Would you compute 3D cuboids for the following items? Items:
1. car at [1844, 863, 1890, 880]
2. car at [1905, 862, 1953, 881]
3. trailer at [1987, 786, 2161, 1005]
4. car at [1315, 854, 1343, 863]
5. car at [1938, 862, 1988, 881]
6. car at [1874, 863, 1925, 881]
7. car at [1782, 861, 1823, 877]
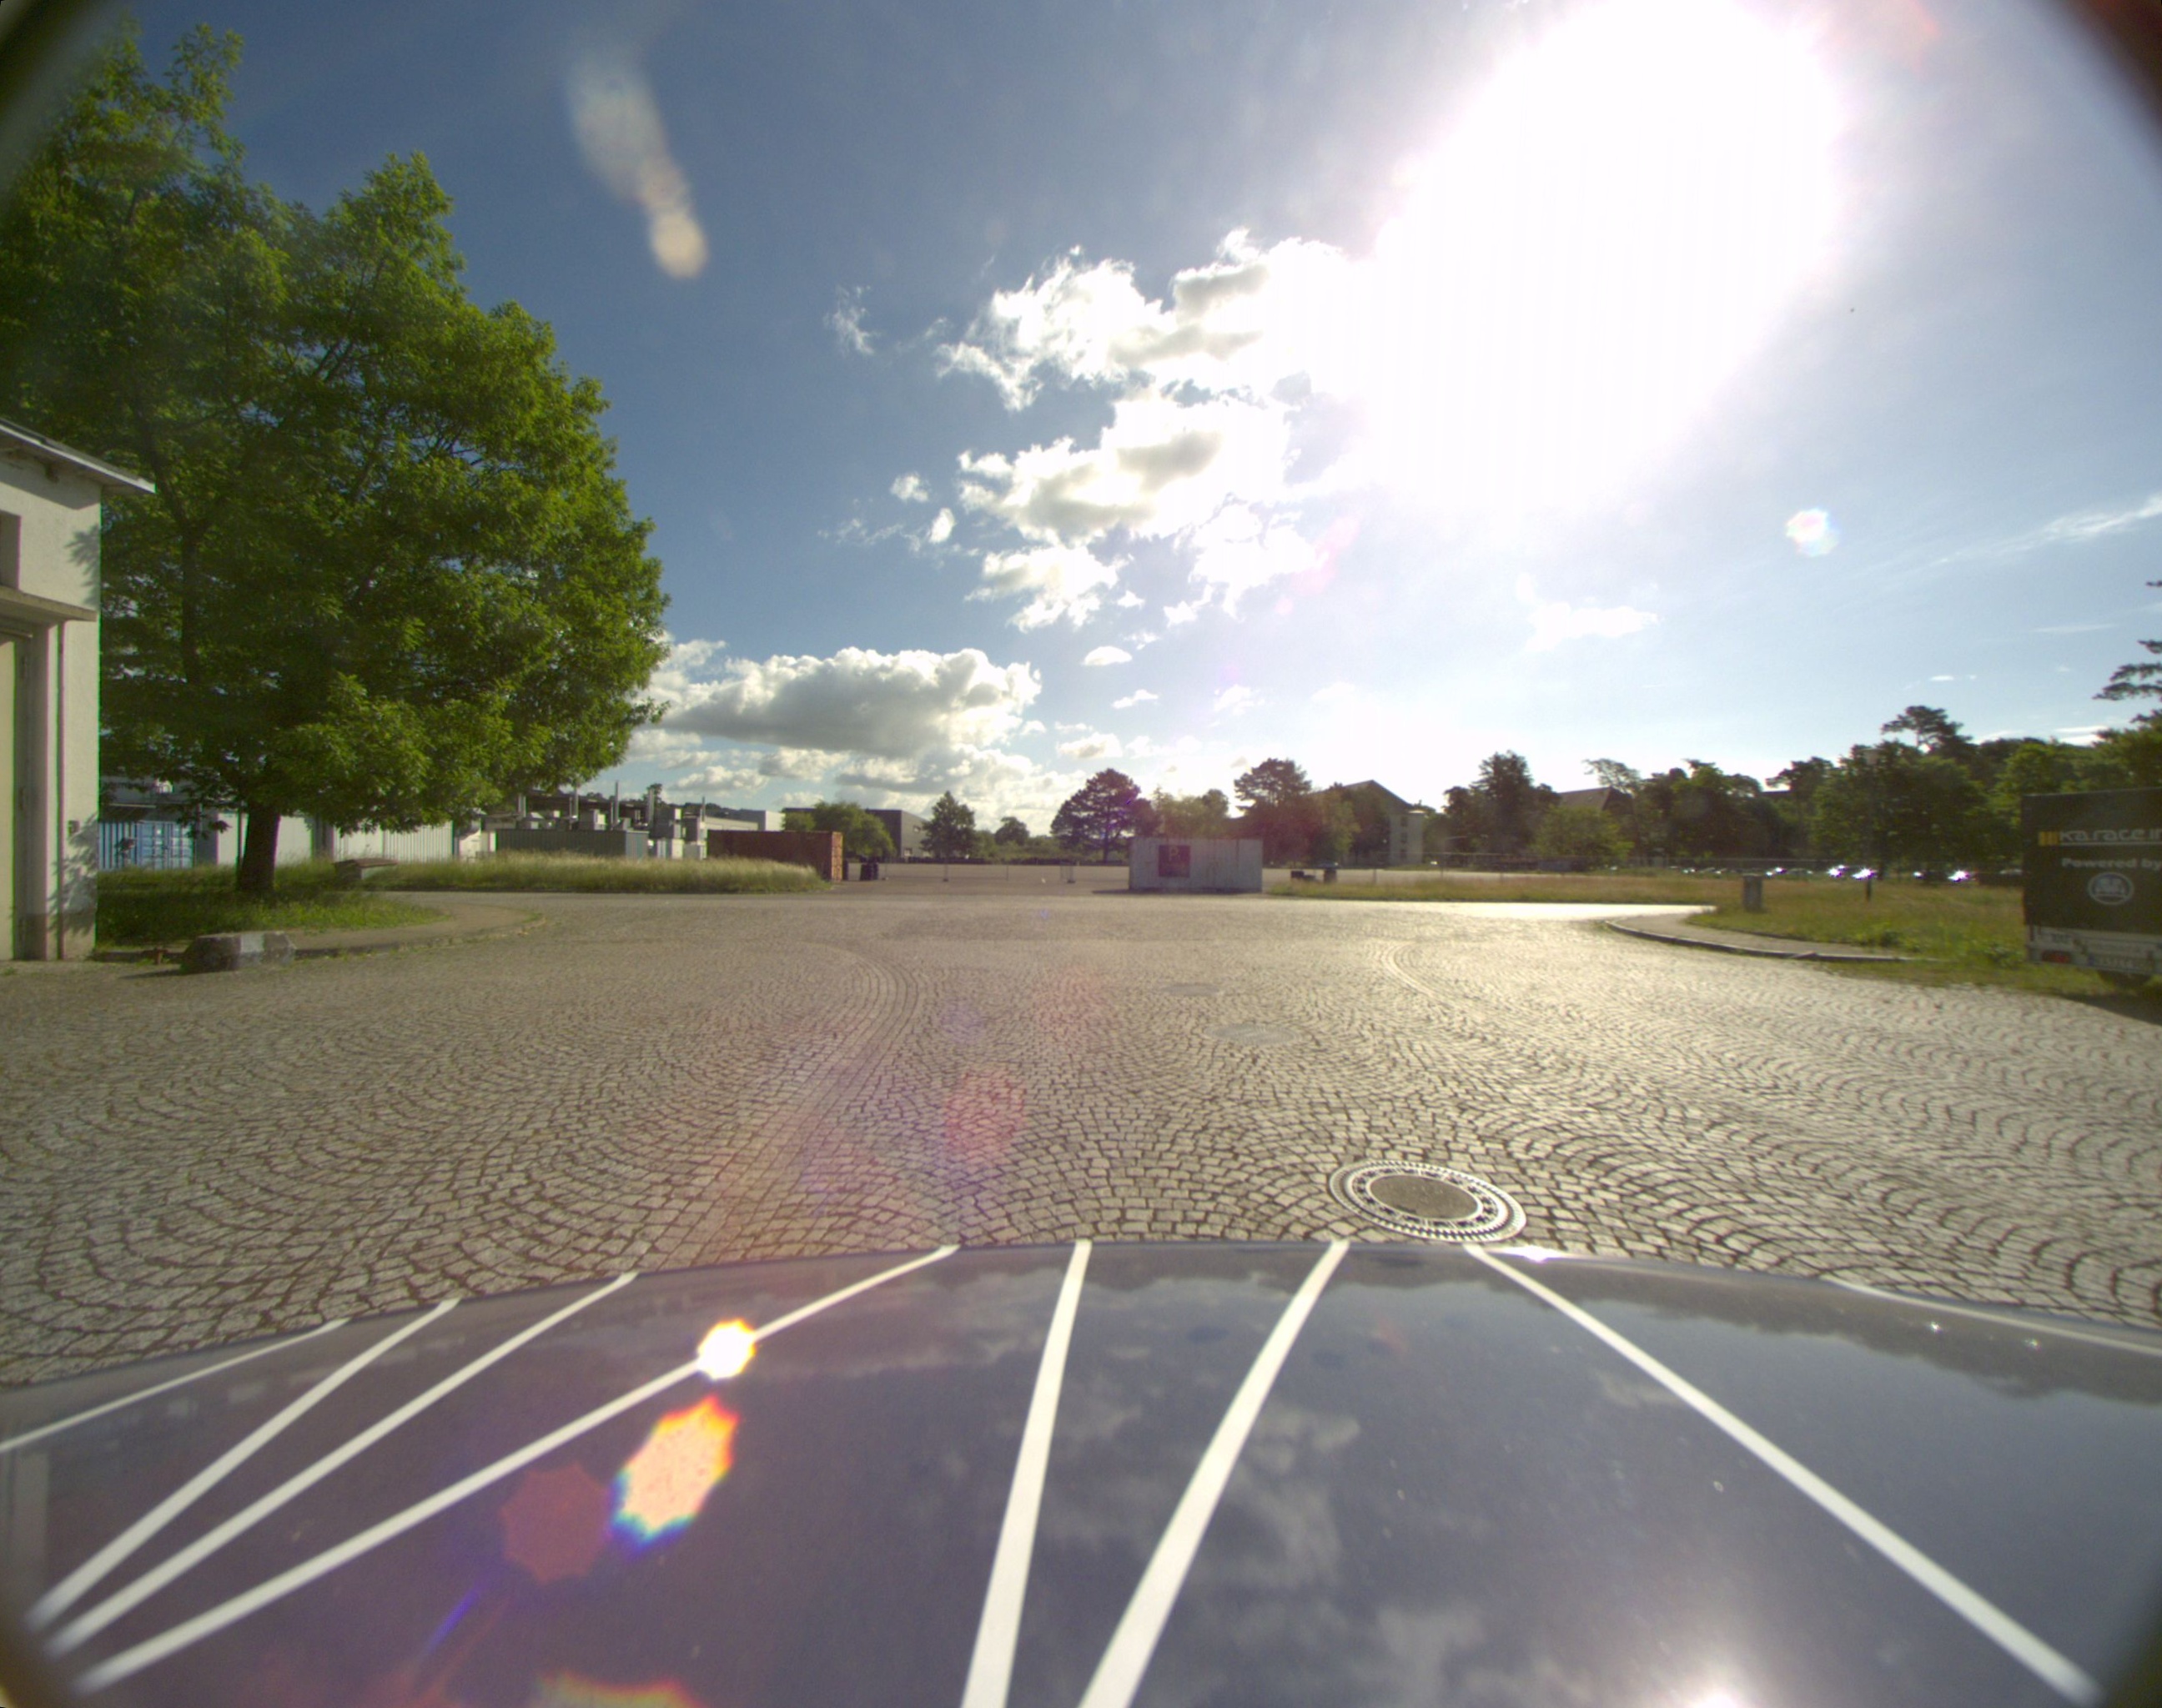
[{"bbox_3d":[93.824,2.084,90.744,3.850,2.002,1.742,1,1,-5],"label":"car"},{"bbox_3d":[94.359,1.943,84.556,3.619,2.002,1.742,1,1,-5],"label":"car"},{"bbox_3d":[13.613,0.455,8.464,4.668,2.284,2.136,1,1,-3],"label":"trailer"},{"bbox_3d":[42.479,0.775,130.041,4.000,1.573,1.998,1,1,-9],"label":"car"},{"bbox_3d":[94.903,1.877,81.786,3.619,2.002,1.742,1,1,-5],"label":"car"},{"bbox_3d":[95.402,2.114,88.587,3.999,2.002,1.999,1,0,-6],"label":"car"},{"bbox_3d":[93.534,1.958,98.521,3.849,2.002,1.742,1,1,-3],"label":"car"}]
